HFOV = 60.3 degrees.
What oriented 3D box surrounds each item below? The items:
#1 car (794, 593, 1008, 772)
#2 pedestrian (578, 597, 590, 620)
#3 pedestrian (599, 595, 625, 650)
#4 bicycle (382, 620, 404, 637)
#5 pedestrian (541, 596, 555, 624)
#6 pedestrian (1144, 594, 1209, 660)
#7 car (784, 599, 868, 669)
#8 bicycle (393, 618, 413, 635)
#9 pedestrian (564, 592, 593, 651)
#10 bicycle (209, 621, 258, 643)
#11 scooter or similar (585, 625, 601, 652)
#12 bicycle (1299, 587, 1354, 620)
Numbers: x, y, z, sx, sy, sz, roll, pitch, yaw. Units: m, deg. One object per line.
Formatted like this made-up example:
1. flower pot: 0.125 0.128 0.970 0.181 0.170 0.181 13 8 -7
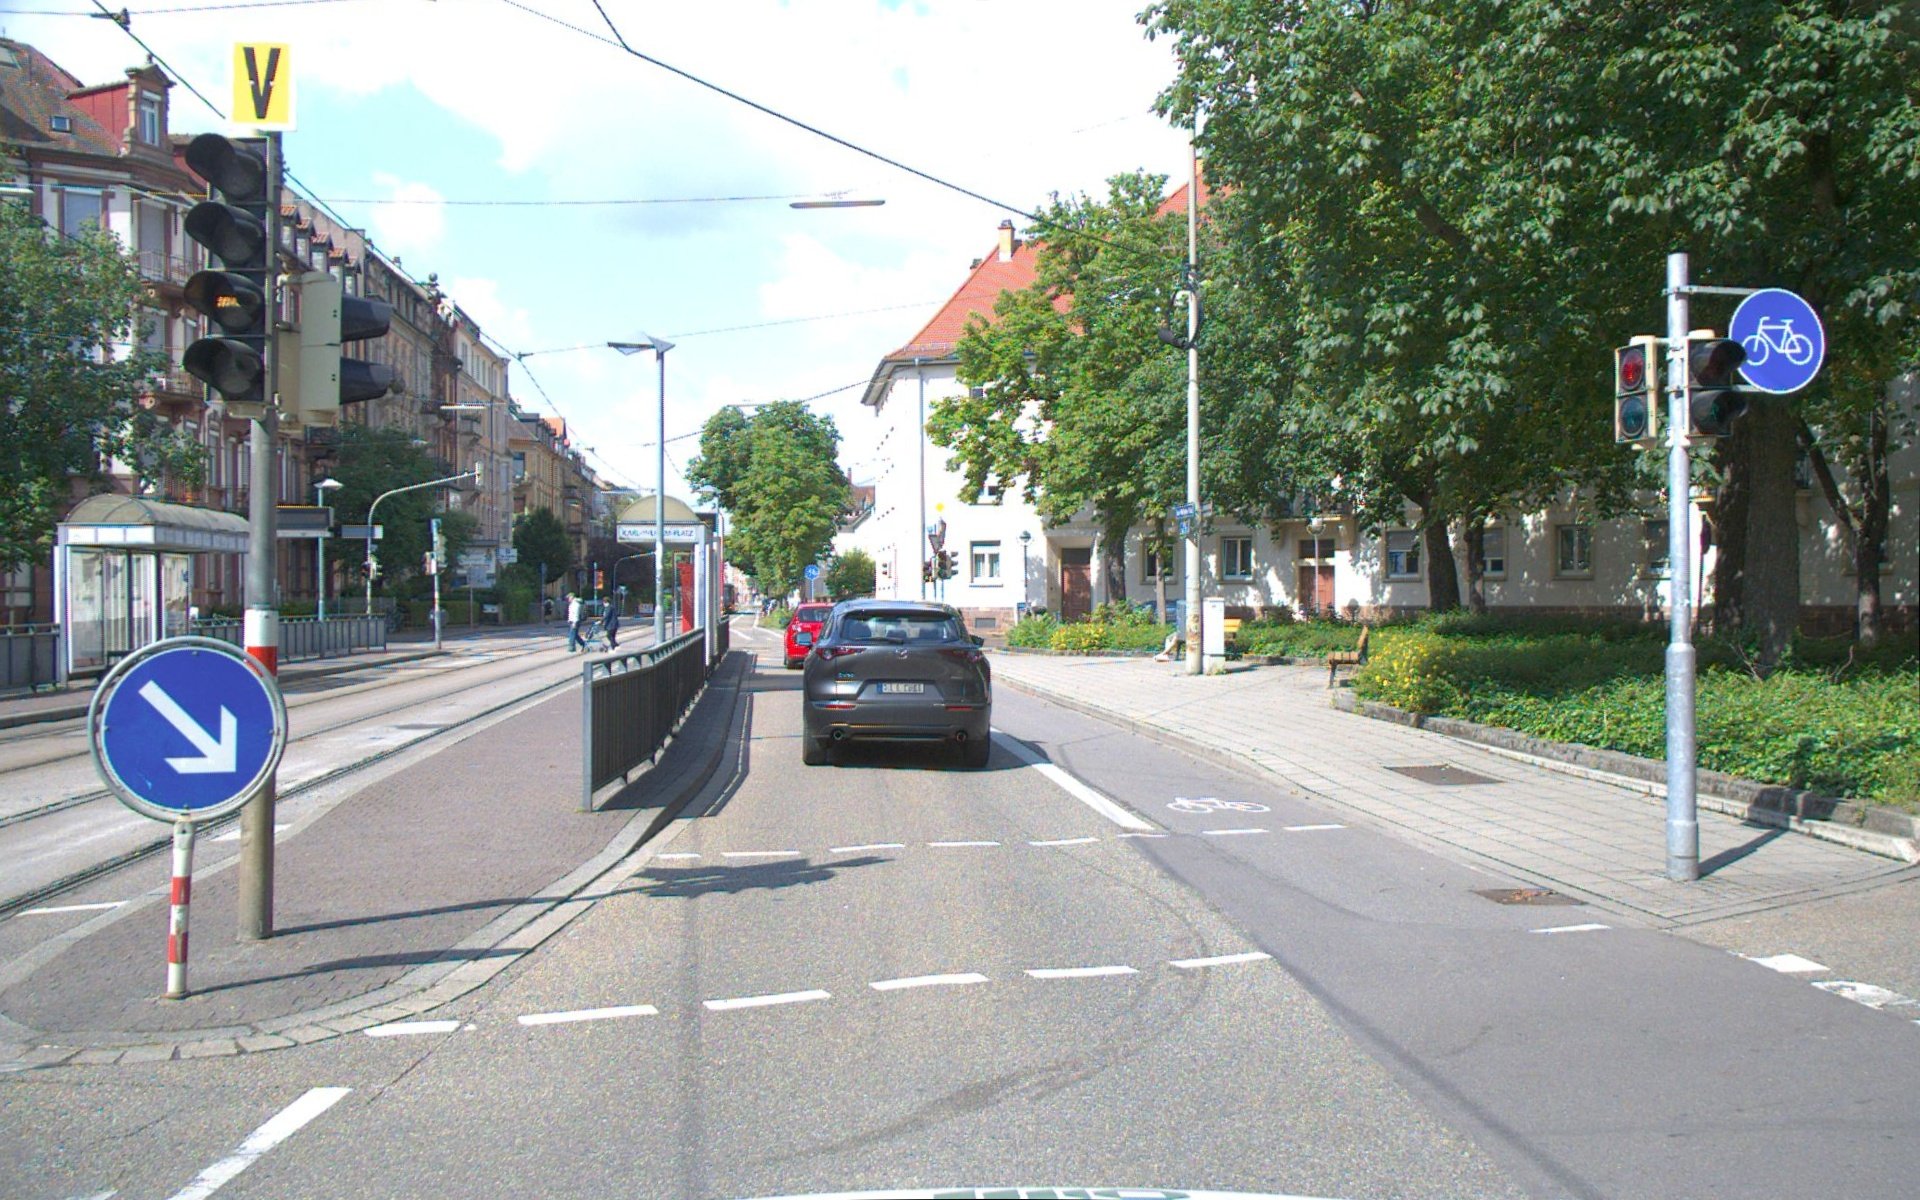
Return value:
1. car: -0.715 0.748 16.639 1.748 1.540 3.993 2 -1 -8
2. pedestrian: -28.427 0.620 124.935 0.772 1.718 0.731 0 0 -5
3. pedestrian: -9.984 0.649 47.450 0.655 1.573 0.580 0 0 -8
4. bicycle: -23.902 1.190 69.760 0.377 0.664 1.710 0 0 -2
5. pedestrian: -26.139 0.629 104.953 0.772 1.718 0.731 0 0 -5
6. pedestrian: 4.473 0.551 34.199 1.171 1.291 0.556 -3 0 -12
7. car: -3.091 0.730 37.596 1.741 1.489 3.837 1 0 -7
8. bicycle: -24.214 1.148 71.943 0.377 0.689 1.710 0 0 -2
9. pedestrian: -11.067 0.619 48.008 0.756 1.704 0.666 0 0 -8
10. bicycle: -26.098 1.133 59.438 0.378 0.760 1.708 0 0 29
11. scooter or similar: -10.512 1.101 47.395 0.406 0.733 0.485 0 0 -8
12. bicycle: 11.816 0.114 53.356 0.563 1.037 1.725 -3 2 -43
